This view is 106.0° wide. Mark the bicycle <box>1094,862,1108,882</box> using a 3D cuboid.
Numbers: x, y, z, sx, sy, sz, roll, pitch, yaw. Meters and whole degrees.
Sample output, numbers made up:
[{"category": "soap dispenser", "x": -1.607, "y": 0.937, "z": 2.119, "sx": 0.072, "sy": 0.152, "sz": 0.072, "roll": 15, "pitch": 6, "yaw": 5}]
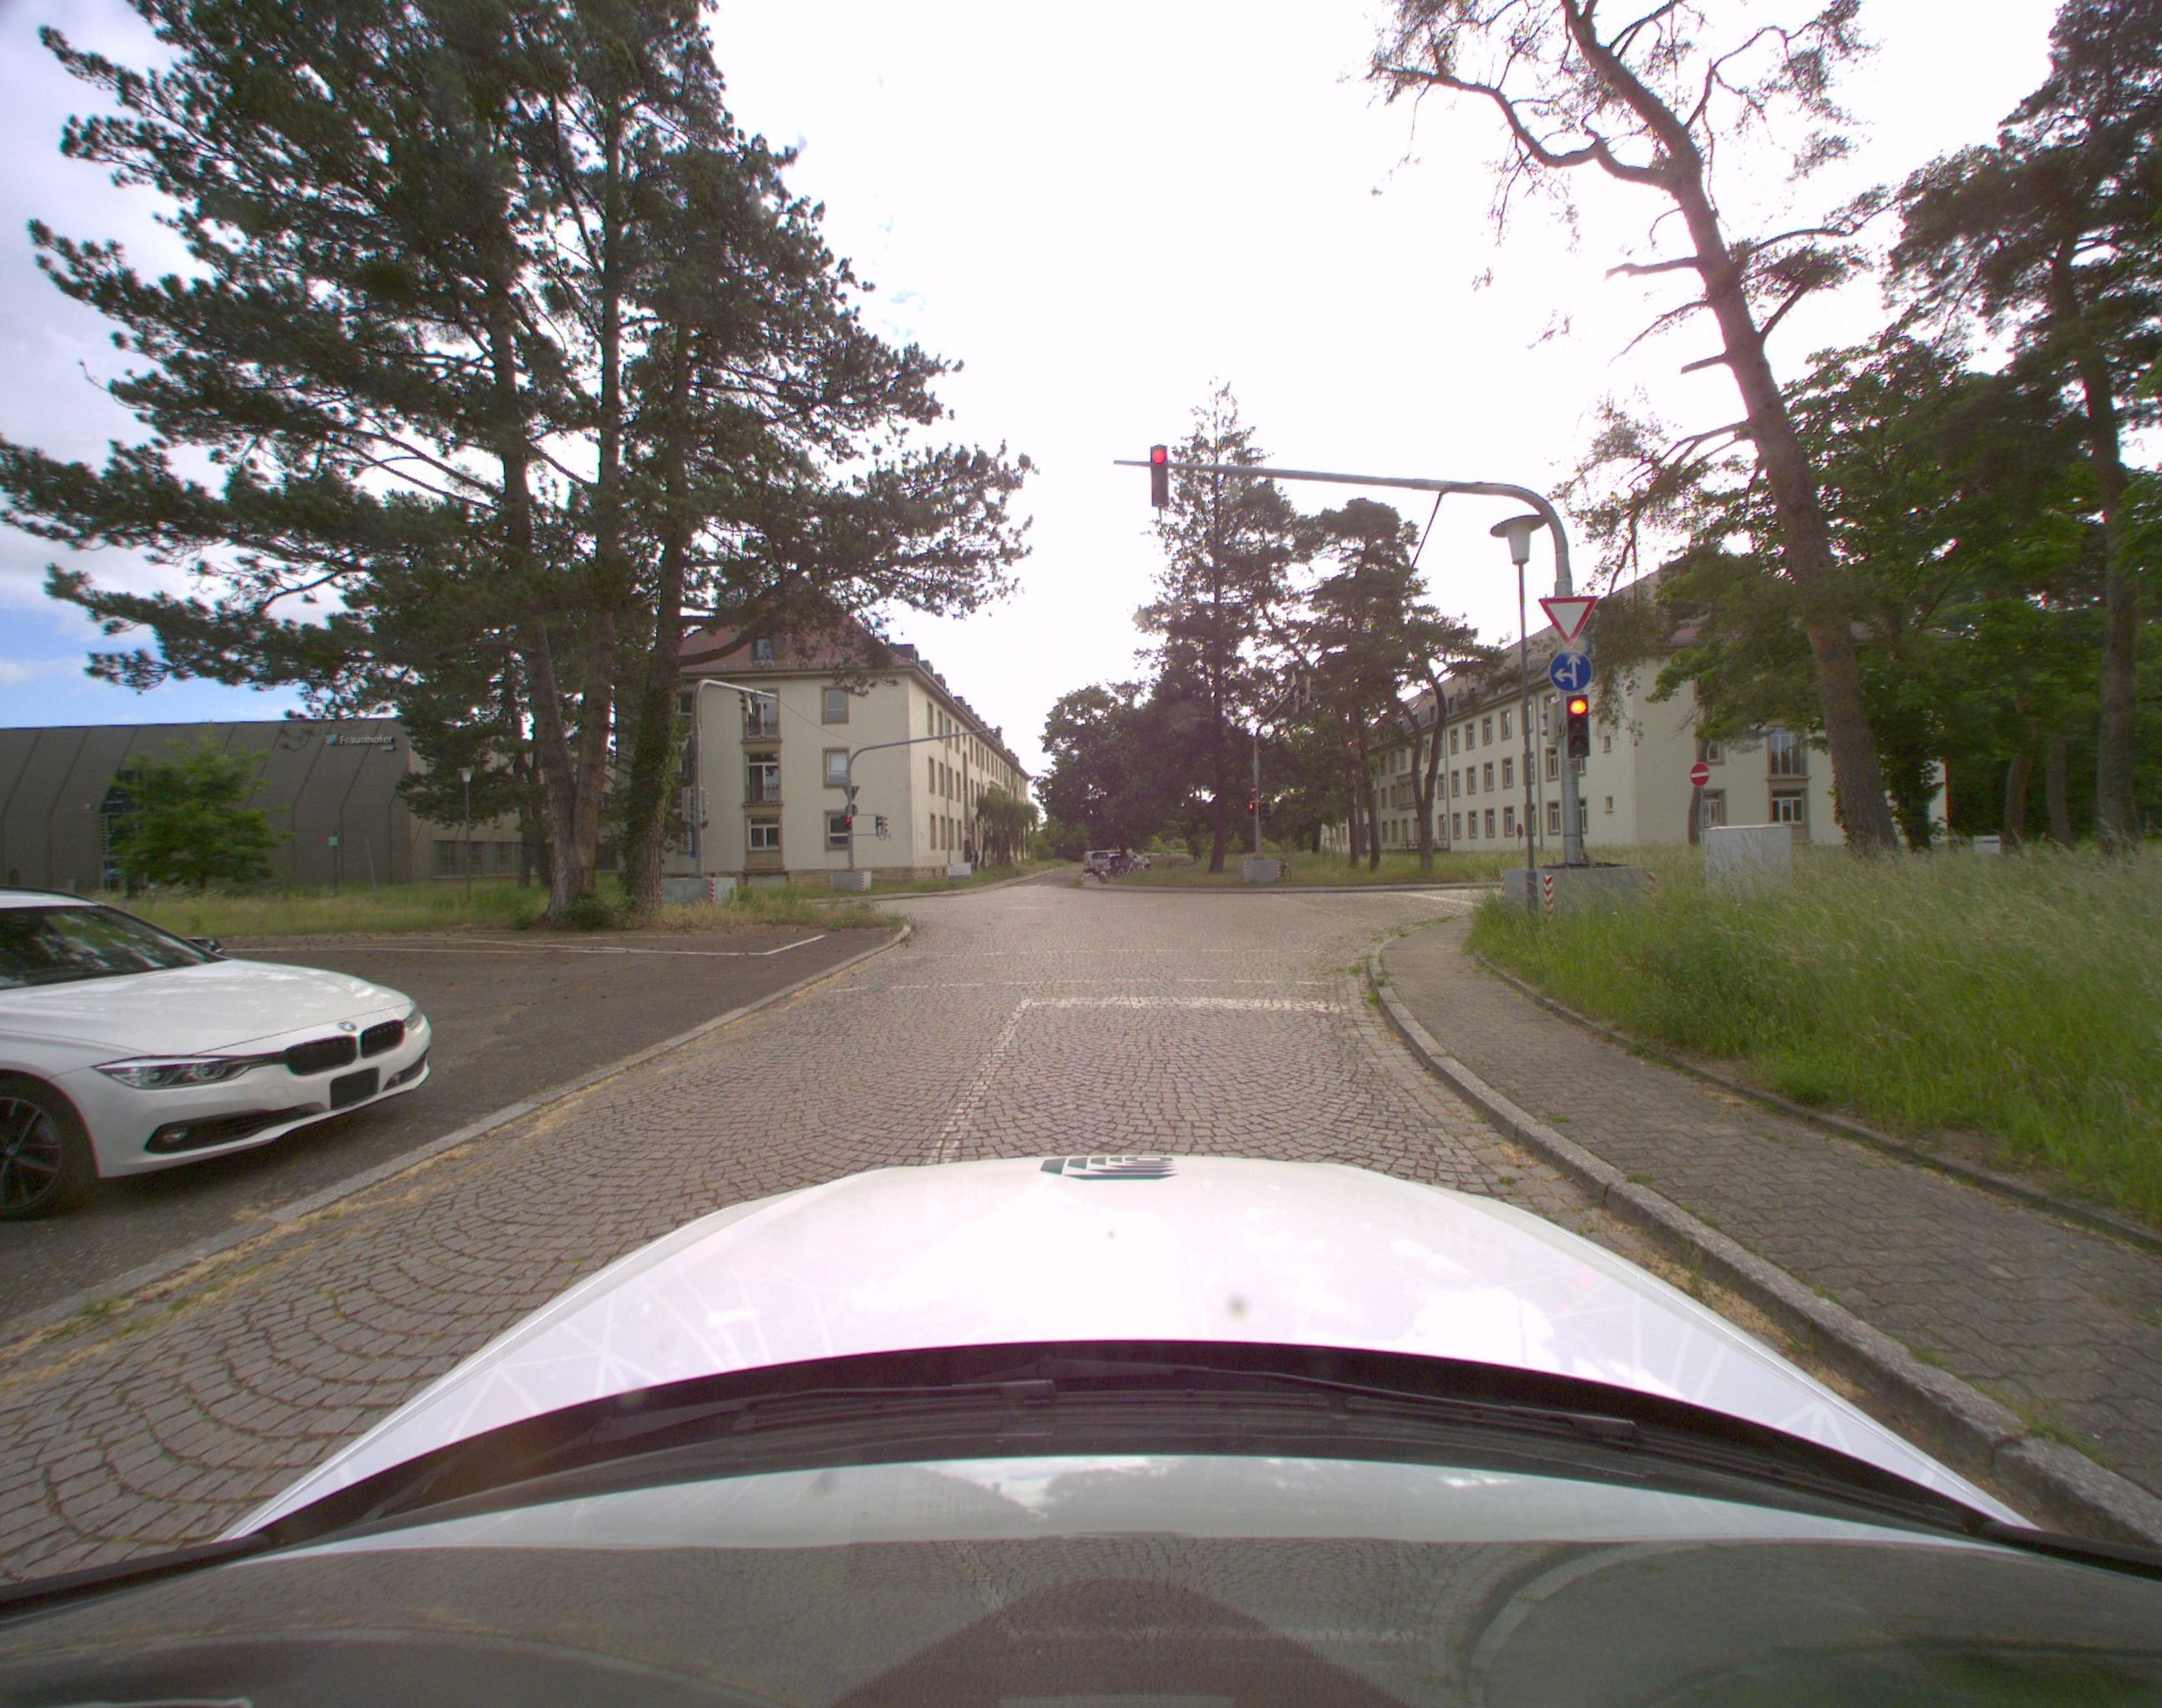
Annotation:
[{"category": "bicycle", "x": 1.129, "y": 0.960, "z": 44.779, "sx": 0.619, "sy": 1.082, "sz": 1.680, "roll": 0, "pitch": -1, "yaw": 6}]

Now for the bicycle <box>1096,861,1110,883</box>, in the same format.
[{"category": "bicycle", "x": 1.149, "y": 0.928, "z": 42.824, "sx": 0.619, "sy": 1.113, "sz": 1.991, "roll": 0, "pitch": -1, "yaw": 5}]

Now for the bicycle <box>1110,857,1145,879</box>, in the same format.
[{"category": "bicycle", "x": 2.685, "y": 0.819, "z": 46.795, "sx": 1.976, "sy": 1.248, "sz": 0.624, "roll": 0, "pitch": -1, "yaw": 0}]

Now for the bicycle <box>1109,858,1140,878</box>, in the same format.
[{"category": "bicycle", "x": 2.756, "y": 0.859, "z": 51.826, "sx": 1.976, "sy": 1.248, "sz": 0.624, "roll": 0, "pitch": -1, "yaw": 0}]

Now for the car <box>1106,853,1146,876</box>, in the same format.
[{"category": "car", "x": 3.349, "y": 0.765, "z": 60.785, "sx": 2.837, "sy": 1.558, "sz": 1.472, "roll": -2, "pitch": 1, "yaw": 1}]

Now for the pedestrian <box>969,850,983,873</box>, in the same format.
[{"category": "pedestrian", "x": -8.013, "y": 0.558, "z": 62.355, "sx": 0.833, "sy": 1.781, "sz": 0.943, "roll": -1, "pitch": 0, "yaw": 7}]

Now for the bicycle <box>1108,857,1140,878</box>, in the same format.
[{"category": "bicycle", "x": 2.771, "y": 0.864, "z": 52.485, "sx": 1.976, "sy": 1.248, "sz": 0.624, "roll": -3, "pitch": -1, "yaw": 0}]

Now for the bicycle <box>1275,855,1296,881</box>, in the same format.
[{"category": "bicycle", "x": 8.426, "y": 0.561, "z": 33.596, "sx": 0.577, "sy": 0.970, "sz": 1.681, "roll": -3, "pitch": 1, "yaw": 6}]

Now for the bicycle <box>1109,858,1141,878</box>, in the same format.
[{"category": "bicycle", "x": 2.760, "y": 0.855, "z": 51.331, "sx": 1.976, "sy": 1.248, "sz": 0.624, "roll": 0, "pitch": -1, "yaw": 0}]

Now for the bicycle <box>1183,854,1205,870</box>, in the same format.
[{"category": "bicycle", "x": 8.437, "y": 0.590, "z": 60.831, "sx": 1.542, "sy": 1.124, "sz": 0.401, "roll": -1, "pitch": -1, "yaw": 3}]

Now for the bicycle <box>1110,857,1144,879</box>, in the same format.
[{"category": "bicycle", "x": 2.693, "y": 0.826, "z": 47.721, "sx": 1.976, "sy": 1.248, "sz": 0.624, "roll": 0, "pitch": -1, "yaw": 0}]

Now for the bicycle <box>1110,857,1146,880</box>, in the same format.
[{"category": "bicycle", "x": 2.670, "y": 0.814, "z": 46.165, "sx": 1.976, "sy": 1.248, "sz": 0.624, "roll": 0, "pitch": -1, "yaw": 0}]

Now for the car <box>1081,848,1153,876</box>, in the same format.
[{"category": "car", "x": 2.829, "y": 0.618, "z": 64.278, "sx": 5.310, "sy": 1.916, "sz": 2.140, "roll": -2, "pitch": 0, "yaw": -13}]

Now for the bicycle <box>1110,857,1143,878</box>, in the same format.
[{"category": "bicycle", "x": 2.734, "y": 0.838, "z": 49.214, "sx": 1.976, "sy": 1.248, "sz": 0.624, "roll": 0, "pitch": -1, "yaw": 0}]

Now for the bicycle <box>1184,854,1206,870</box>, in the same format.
[{"category": "bicycle", "x": 8.330, "y": 0.584, "z": 59.601, "sx": 1.542, "sy": 1.124, "sz": 0.401, "roll": -1, "pitch": -1, "yaw": 3}]

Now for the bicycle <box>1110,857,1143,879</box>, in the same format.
[{"category": "bicycle", "x": 2.712, "y": 0.833, "z": 48.581, "sx": 1.976, "sy": 1.248, "sz": 0.624, "roll": 0, "pitch": -1, "yaw": 0}]

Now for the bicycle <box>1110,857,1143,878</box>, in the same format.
[{"category": "bicycle", "x": 2.762, "y": 0.842, "z": 49.739, "sx": 1.976, "sy": 1.248, "sz": 0.624, "roll": 0, "pitch": -1, "yaw": 0}]

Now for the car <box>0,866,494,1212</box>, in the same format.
[{"category": "car", "x": -6.358, "y": 0.847, "z": 4.575, "sx": 4.724, "sy": 1.488, "sz": 1.866, "roll": 0, "pitch": 1, "yaw": -1}]
